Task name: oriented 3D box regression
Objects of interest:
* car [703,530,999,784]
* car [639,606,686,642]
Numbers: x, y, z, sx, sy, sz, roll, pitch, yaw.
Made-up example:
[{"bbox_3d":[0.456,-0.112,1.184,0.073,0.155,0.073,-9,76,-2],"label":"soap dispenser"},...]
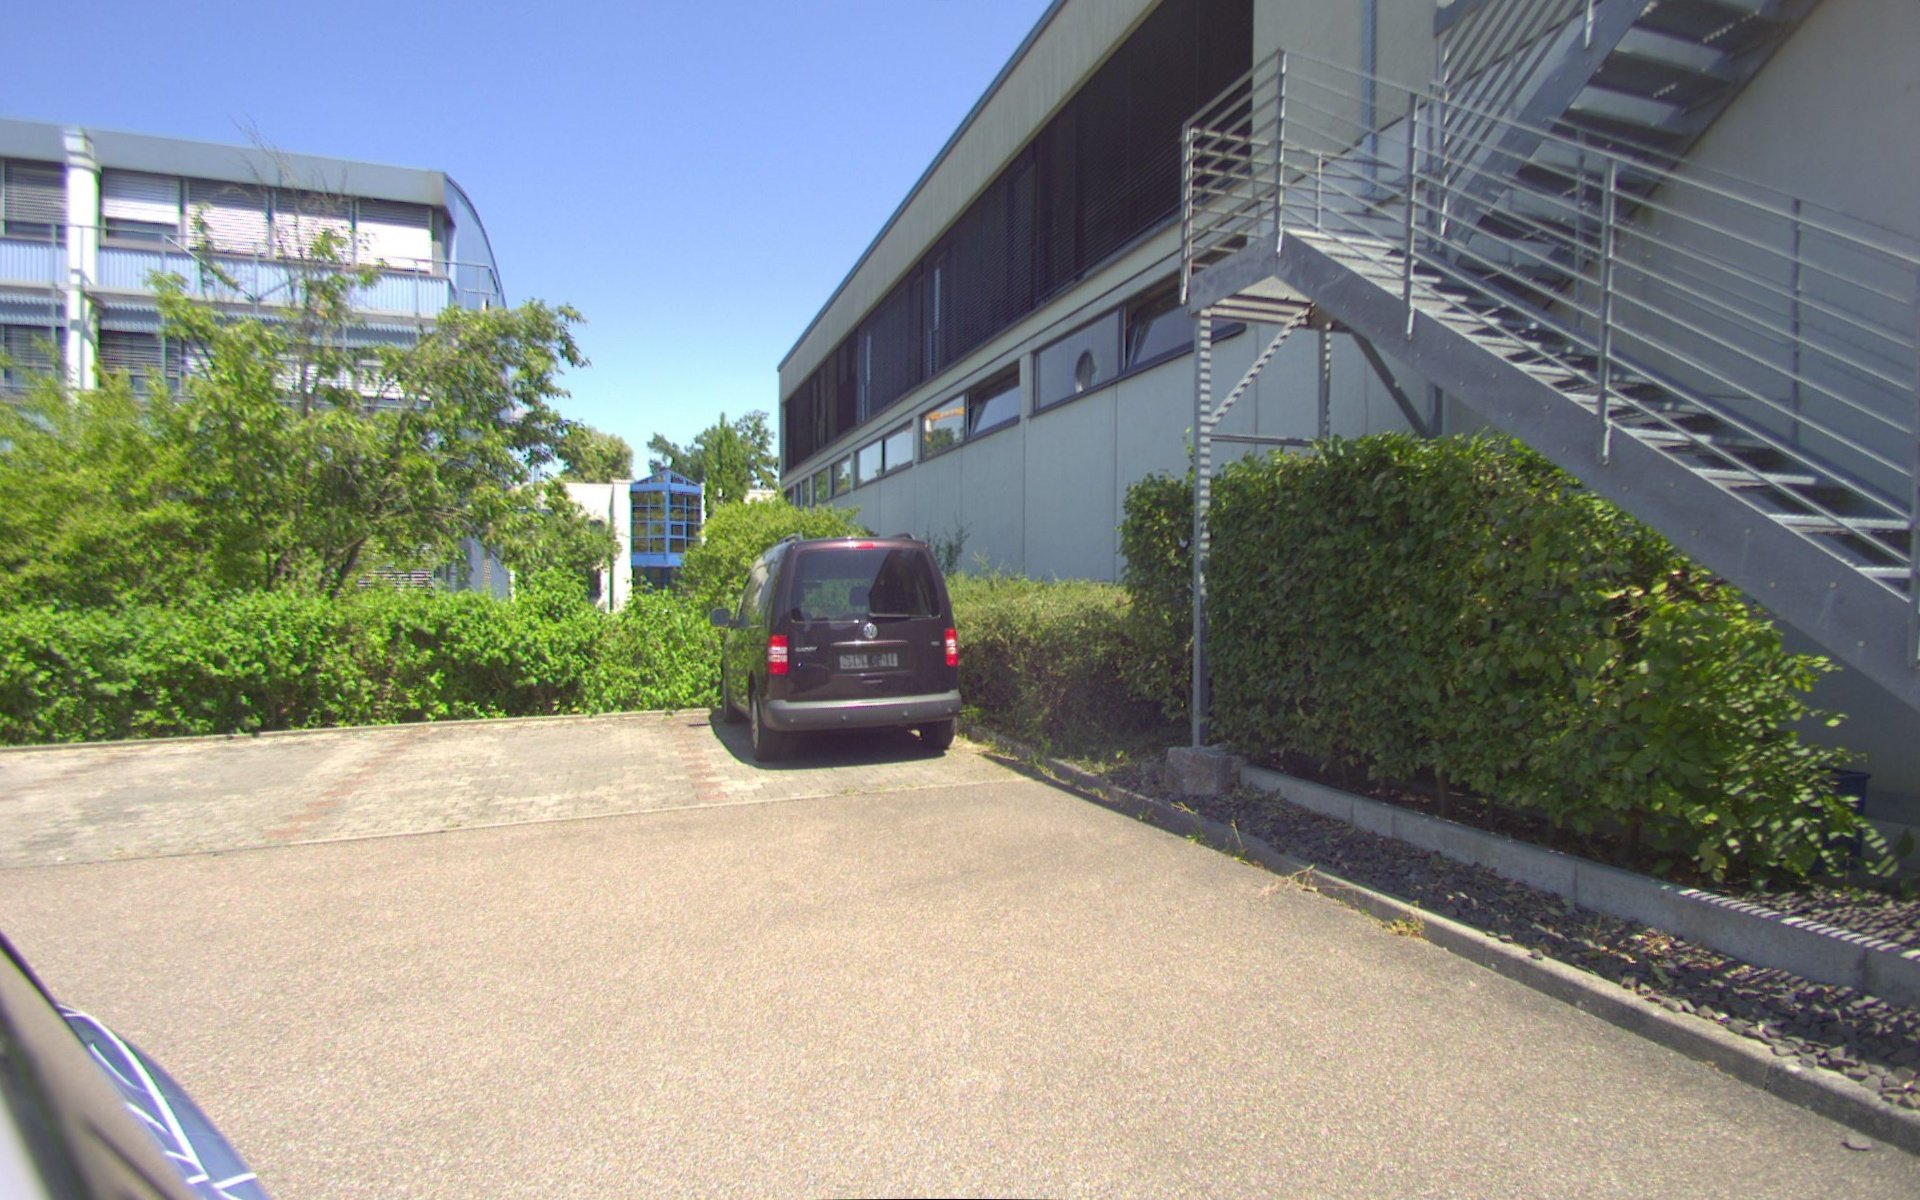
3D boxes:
[{"bbox_3d":[-1.299,0.401,9.779,1.836,1.874,4.242,-1,0,-20],"label":"car"},{"bbox_3d":[-14.885,1.164,50.454,1.805,1.579,4.014,-1,1,-23],"label":"car"}]
